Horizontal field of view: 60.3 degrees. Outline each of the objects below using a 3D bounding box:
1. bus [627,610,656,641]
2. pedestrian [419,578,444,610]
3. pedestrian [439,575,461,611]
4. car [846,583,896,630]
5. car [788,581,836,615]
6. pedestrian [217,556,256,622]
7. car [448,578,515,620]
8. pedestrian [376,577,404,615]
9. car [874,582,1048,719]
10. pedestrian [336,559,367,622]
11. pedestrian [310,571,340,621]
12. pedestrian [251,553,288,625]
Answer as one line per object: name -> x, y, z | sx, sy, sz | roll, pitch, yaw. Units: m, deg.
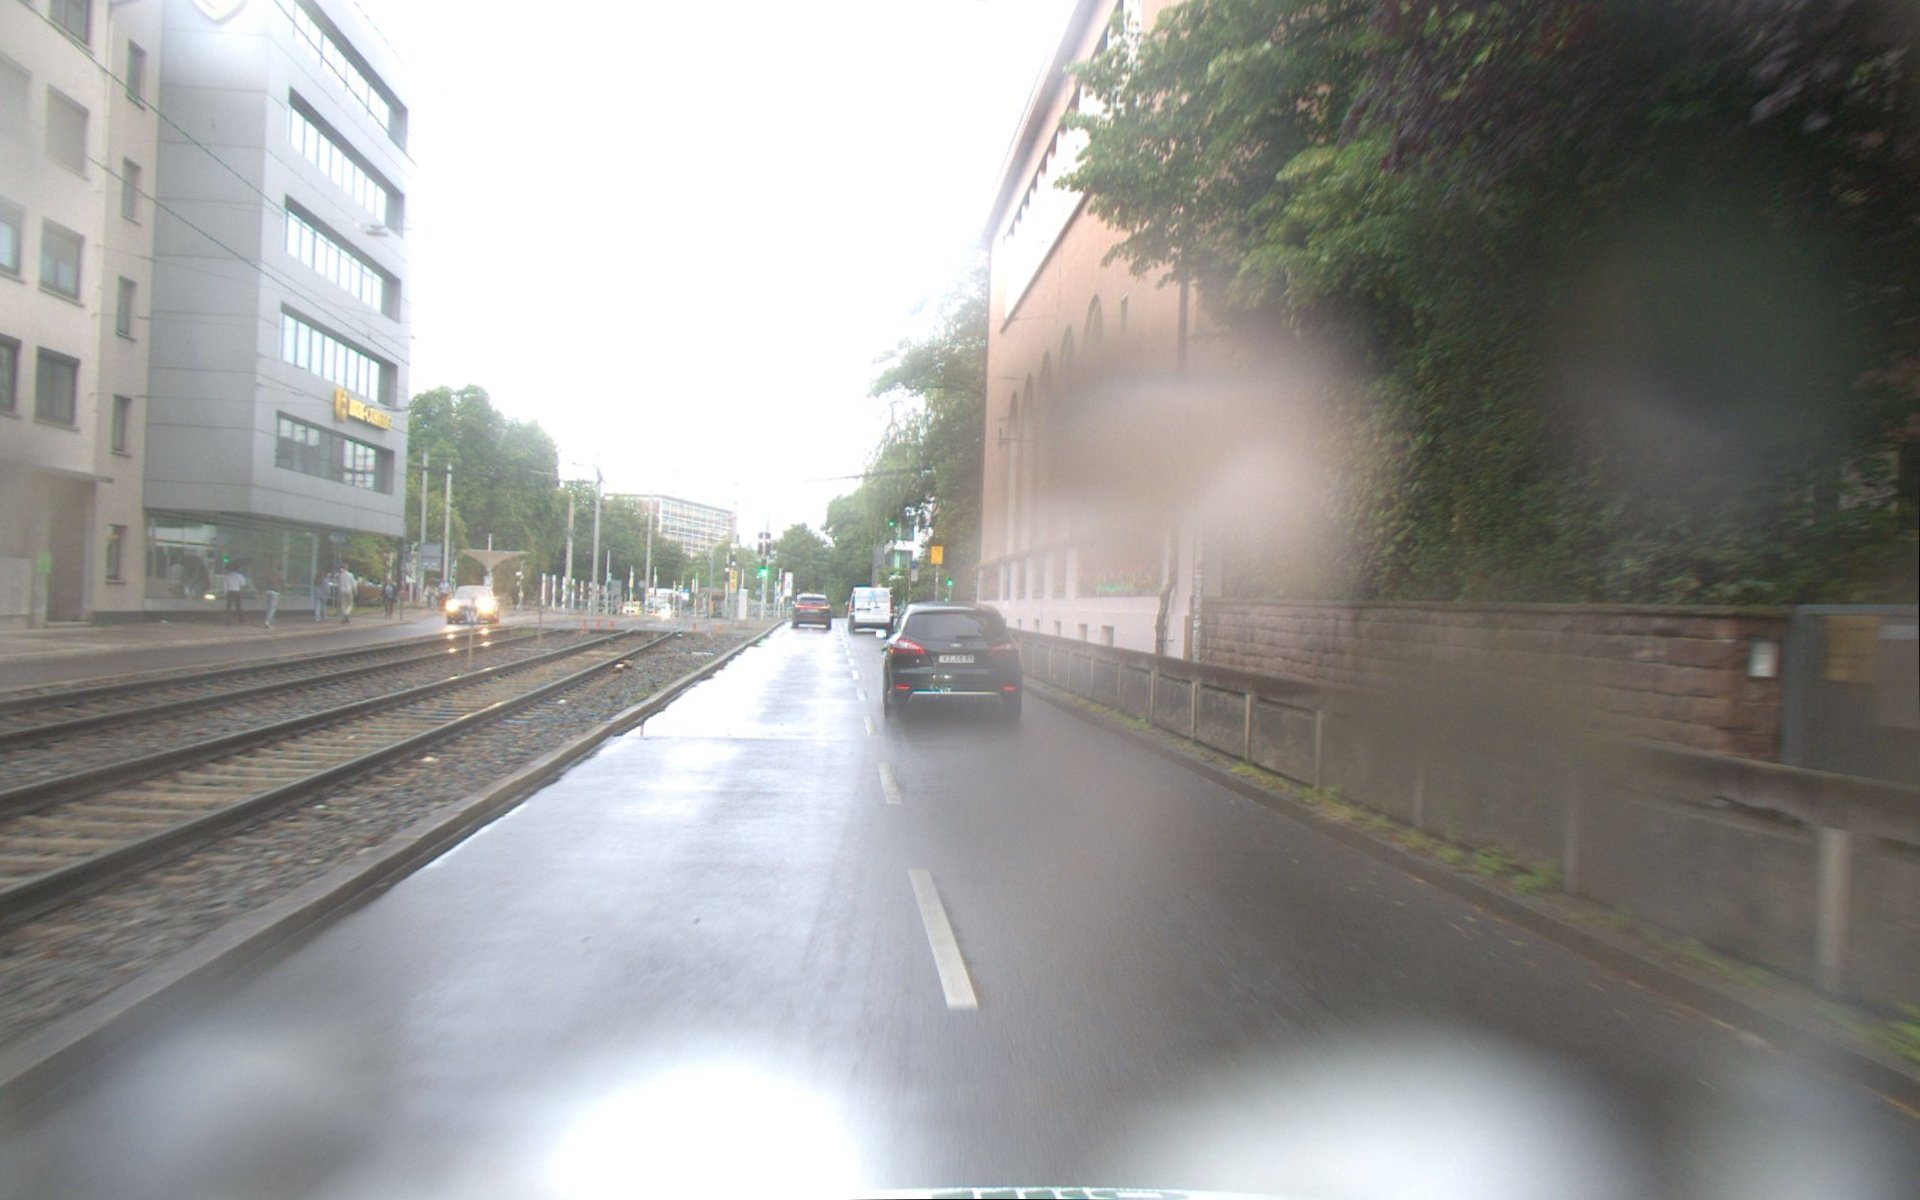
bus -> -35.728, 2.768, 185.718 | 3.022, 3.358, 12.489 | 1, -1, -11
pedestrian -> -28.055, -0.310, 87.824 | 0.904, 1.622, 0.990 | 4, -1, -38
pedestrian -> -28.226, -0.398, 91.550 | 0.983, 1.895, 0.910 | 4, -1, -13
car -> -3.738, 0.268, 69.920 | 1.995, 1.872, 4.389 | 2, 0, -3
car -> -6.885, -0.070, 77.426 | 2.057, 1.532, 4.728 | 1, -1, -3
pedestrian -> -21.030, -0.316, 48.083 | 0.648, 1.847, 0.972 | 4, -1, -4
car -> -18.657, -0.038, 64.646 | 1.903, 1.563, 4.341 | -1, 0, -8
pedestrian -> -24.885, -0.176, 72.211 | 0.955, 1.622, 0.582 | 4, -1, -35
car -> -0.094, 0.622, 22.527 | 1.996, 1.612, 4.388 | 2, 0, -4
pedestrian -> -20.297, -0.310, 55.153 | 0.657, 2.049, 0.607 | 4, -1, -43
pedestrian -> -21.081, -0.119, 54.891 | 0.574, 1.622, 0.636 | 3, -1, 12
pedestrian -> -20.138, -0.314, 48.266 | 0.648, 2.049, 0.810 | 4, -1, -4
